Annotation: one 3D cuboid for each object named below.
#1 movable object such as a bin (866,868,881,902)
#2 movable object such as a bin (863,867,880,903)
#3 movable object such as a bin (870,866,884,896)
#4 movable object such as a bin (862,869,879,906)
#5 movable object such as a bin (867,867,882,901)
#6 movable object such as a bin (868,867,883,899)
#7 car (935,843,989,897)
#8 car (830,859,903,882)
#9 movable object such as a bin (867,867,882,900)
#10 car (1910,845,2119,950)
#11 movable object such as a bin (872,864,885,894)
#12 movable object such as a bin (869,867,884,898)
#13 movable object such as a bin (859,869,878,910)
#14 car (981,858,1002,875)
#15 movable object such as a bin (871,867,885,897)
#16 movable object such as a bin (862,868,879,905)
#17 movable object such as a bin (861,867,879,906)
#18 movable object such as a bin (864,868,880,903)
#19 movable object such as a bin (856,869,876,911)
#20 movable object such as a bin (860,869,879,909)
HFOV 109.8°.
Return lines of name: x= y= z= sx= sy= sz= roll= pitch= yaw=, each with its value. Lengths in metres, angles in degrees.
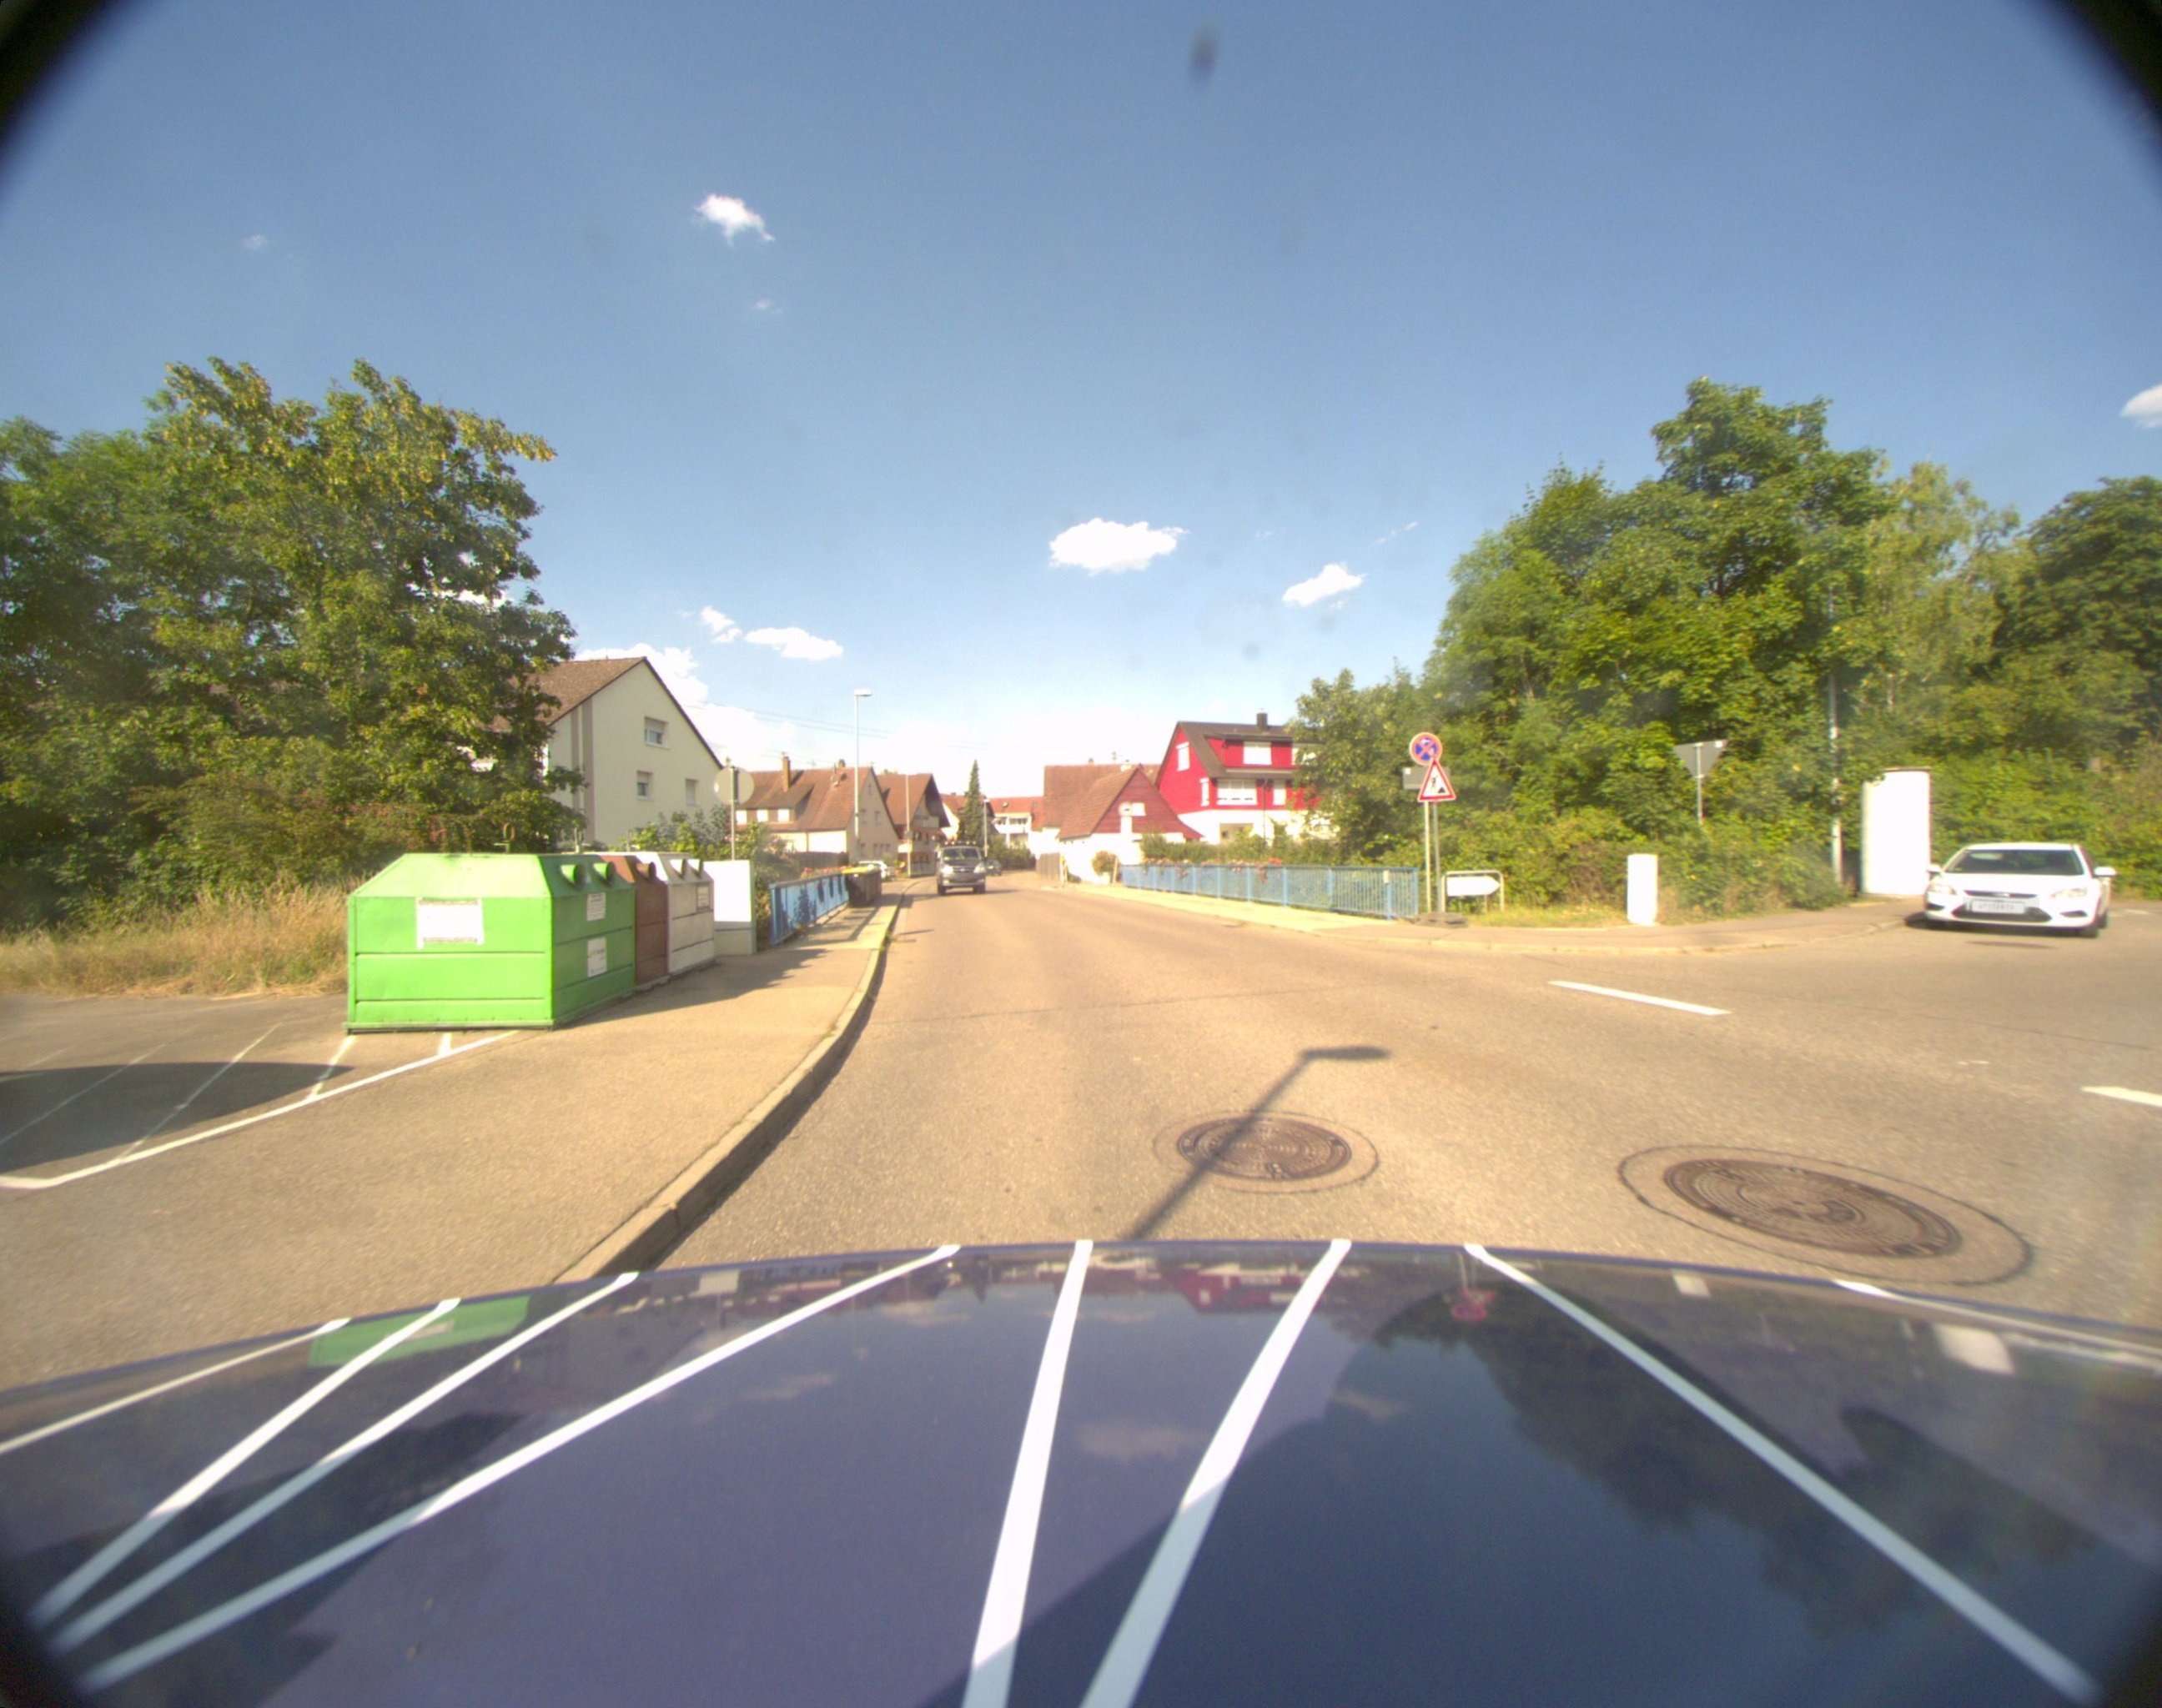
movable object such as a bin: x=-7.067 y=1.049 z=25.884 sx=0.480 sy=1.136 sz=0.538 roll=-1 pitch=0 yaw=-13
movable object such as a bin: x=-6.793 y=1.000 z=24.623 sx=0.480 sy=1.136 sz=0.538 roll=-1 pitch=0 yaw=-13
movable object such as a bin: x=-7.731 y=1.026 z=28.851 sx=0.480 sy=1.136 sz=0.542 roll=-1 pitch=0 yaw=-13
movable object such as a bin: x=-6.485 y=1.025 z=23.433 sx=0.480 sy=1.136 sz=0.538 roll=-1 pitch=0 yaw=-13
movable object such as a bin: x=-7.191 y=1.033 z=26.444 sx=0.480 sy=1.136 sz=0.538 roll=-1 pitch=0 yaw=-13
movable object such as a bin: x=-7.474 y=1.055 z=27.634 sx=0.480 sy=1.136 sz=0.538 roll=-1 pitch=0 yaw=-13
car: x=-5.140 y=0.596 z=32.317 sx=1.822 sy=1.989 sz=4.814 roll=-3 pitch=2 yaw=-13
car: x=-14.779 y=1.112 z=52.336 sx=4.472 sy=1.449 sz=1.732 roll=-1 pitch=1 yaw=7
movable object such as a bin: x=-7.343 y=1.034 z=27.053 sx=0.480 sy=1.136 sz=0.538 roll=-1 pitch=0 yaw=-13
car: x=16.005 y=0.615 z=12.975 sx=4.283 sy=1.483 sz=1.857 roll=-1 pitch=1 yaw=-34
movable object such as a bin: x=-7.979 y=0.985 z=29.941 sx=0.480 sy=1.136 sz=0.538 roll=-1 pitch=0 yaw=-13
movable object such as a bin: x=-7.600 y=1.056 z=28.257 sx=0.480 sy=1.136 sz=0.538 roll=-1 pitch=0 yaw=-13
movable object such as a bin: x=-6.046 y=1.009 z=21.630 sx=0.480 sy=1.136 sz=0.538 roll=-1 pitch=0 yaw=-13
car: x=-8.991 y=1.202 z=76.248 sx=1.974 sy=1.646 sz=3.997 roll=1 pitch=0 yaw=-7
movable object such as a bin: x=-7.854 y=1.060 z=29.403 sx=0.480 sy=1.136 sz=0.538 roll=-1 pitch=0 yaw=-13
movable object such as a bin: x=-6.662 y=1.017 z=24.016 sx=0.480 sy=1.136 sz=0.538 roll=-1 pitch=0 yaw=-13
movable object such as a bin: x=-6.326 y=0.974 z=22.787 sx=0.480 sy=1.136 sz=0.538 roll=-1 pitch=0 yaw=-13
movable object such as a bin: x=-6.940 y=1.047 z=25.266 sx=0.480 sy=1.136 sz=0.564 roll=-1 pitch=0 yaw=-13
movable object such as a bin: x=-5.950 y=0.980 z=21.070 sx=0.480 sy=1.136 sz=0.538 roll=-1 pitch=0 yaw=-13
movable object such as a bin: x=-6.164 y=1.005 z=22.179 sx=0.480 sy=1.136 sz=0.538 roll=-1 pitch=0 yaw=-13
